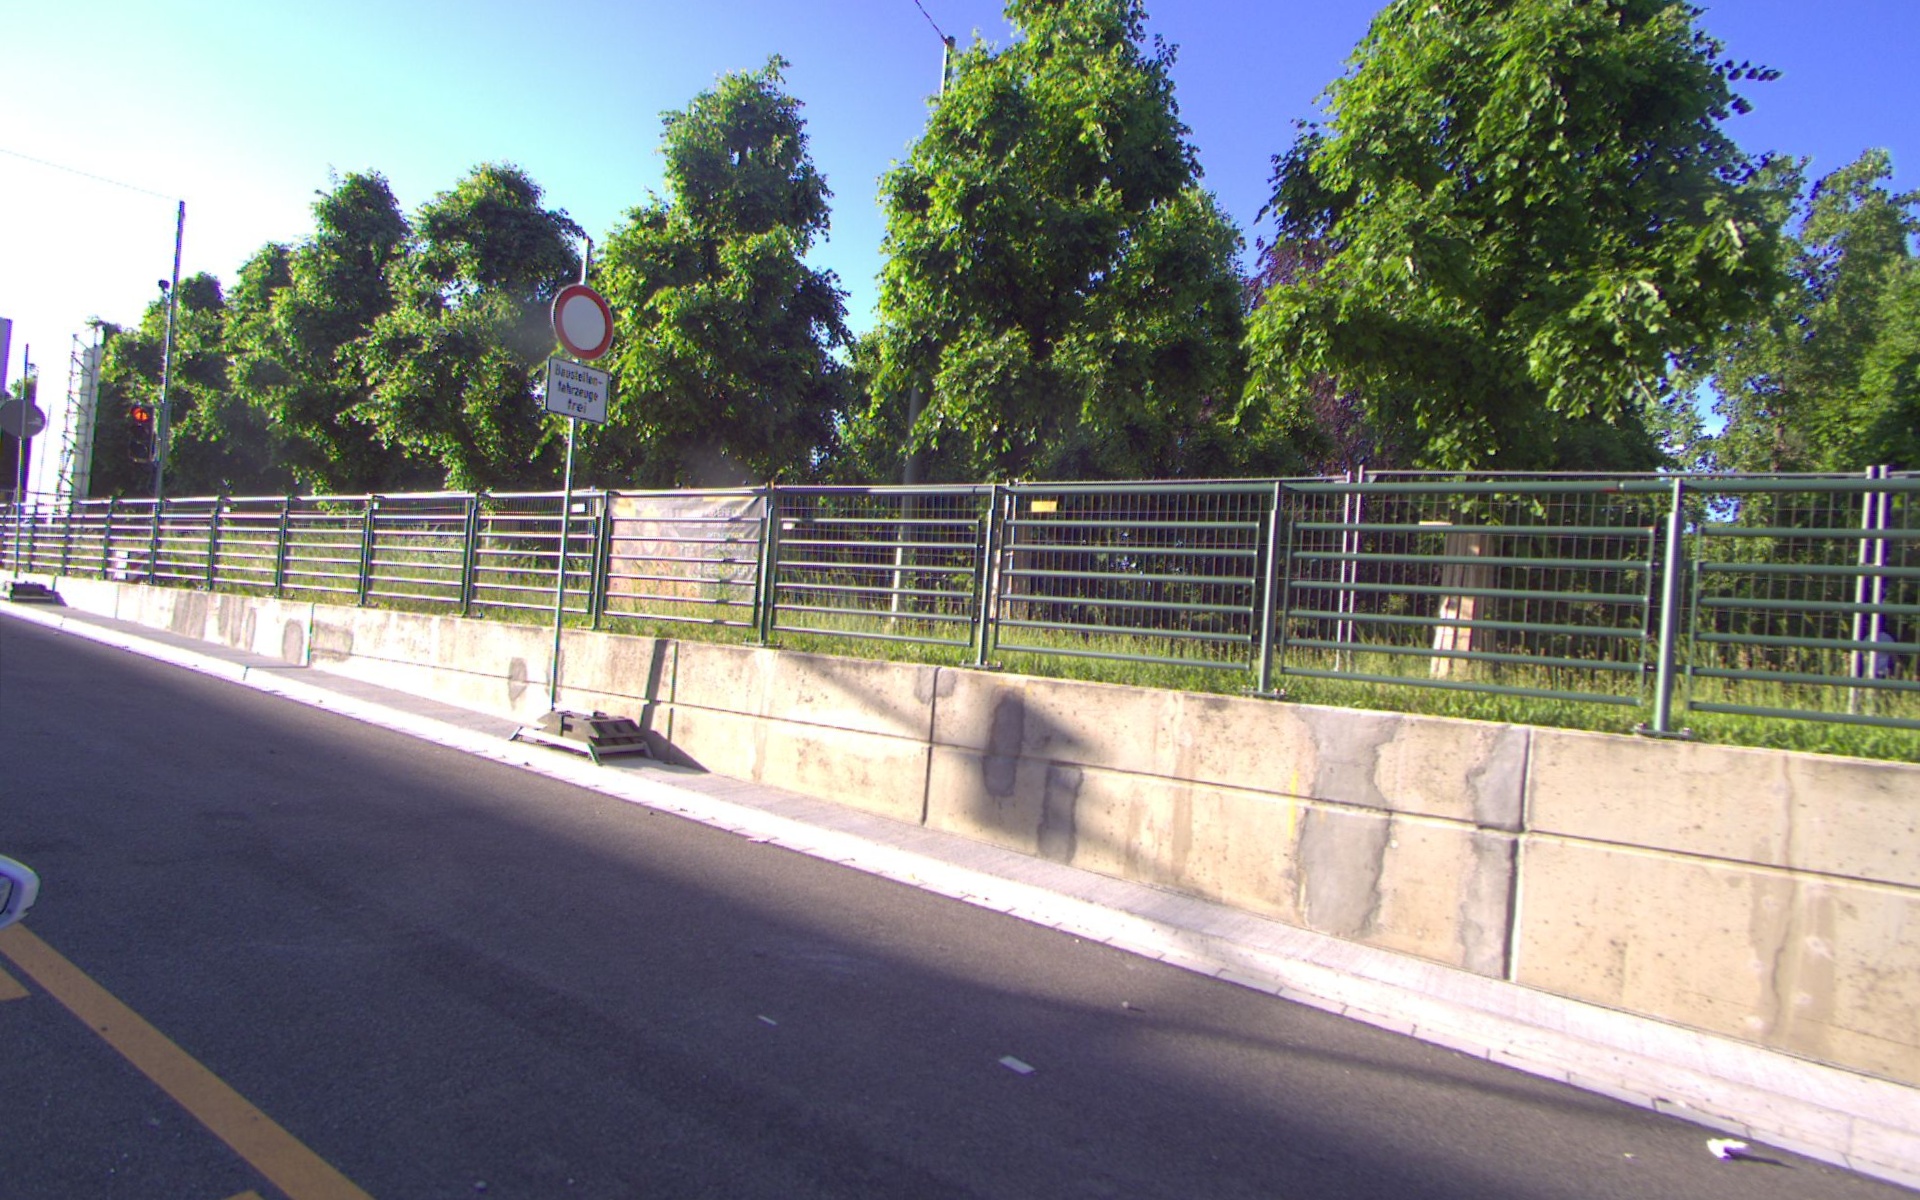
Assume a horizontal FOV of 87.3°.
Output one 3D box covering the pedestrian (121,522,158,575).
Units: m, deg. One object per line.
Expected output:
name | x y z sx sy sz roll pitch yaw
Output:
pedestrian | -26.593 -1.671 32.588 0.634 1.624 0.736 5 0 39

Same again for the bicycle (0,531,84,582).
bicycle | -26.487 -1.248 28.806 0.470 1.215 1.992 4 -3 38

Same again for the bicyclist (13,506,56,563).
bicyclist | -26.497 -1.863 28.801 0.676 1.533 0.702 4 -2 37

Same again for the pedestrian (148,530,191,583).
pedestrian | -25.312 -1.393 32.227 0.653 1.585 0.745 5 0 6
